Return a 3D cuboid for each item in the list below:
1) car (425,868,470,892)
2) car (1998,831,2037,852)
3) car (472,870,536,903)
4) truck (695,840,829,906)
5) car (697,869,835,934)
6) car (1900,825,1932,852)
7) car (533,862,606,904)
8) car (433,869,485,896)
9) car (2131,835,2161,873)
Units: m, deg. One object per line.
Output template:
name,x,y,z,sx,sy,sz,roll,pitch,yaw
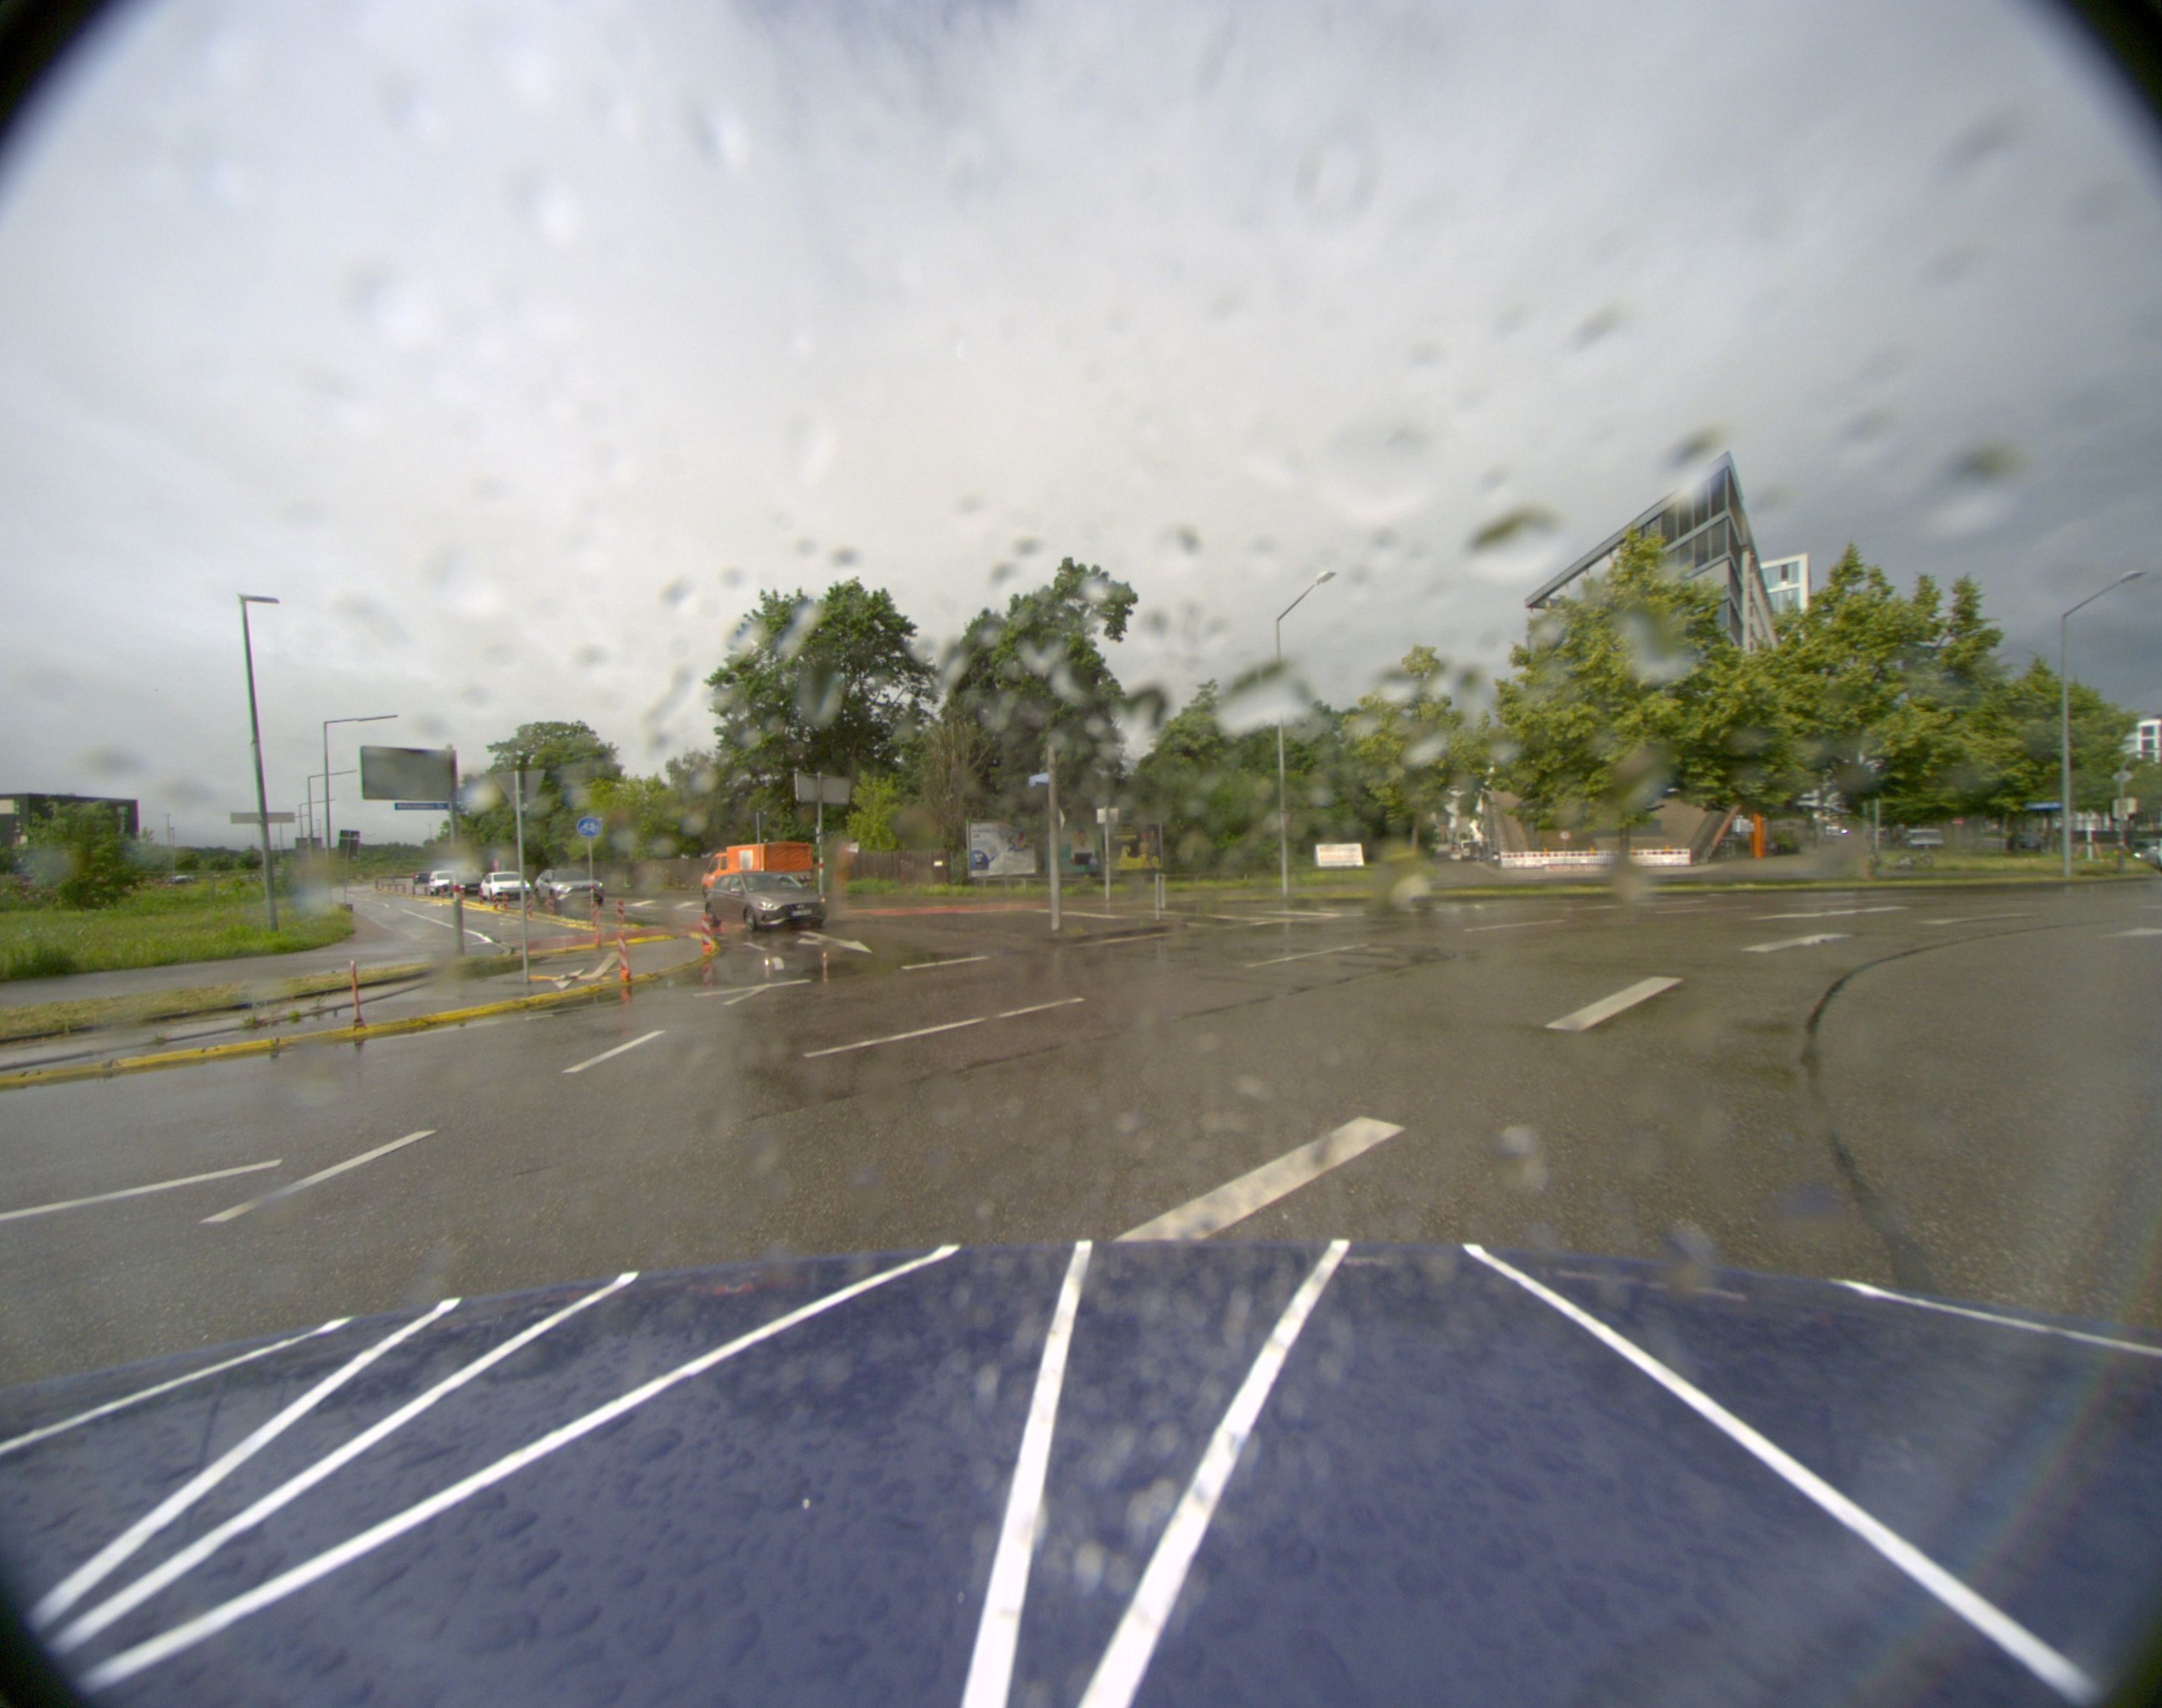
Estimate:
car,-48.816,2.003,58.534,4.471,1.654,1.879,-2,3,41
car,82.875,-1.089,67.302,4.095,1.734,1.861,0,-1,-43
car,-32.258,1.799,42.437,4.471,1.654,1.879,-2,2,41
truck,-14.578,0.835,34.480,6.926,2.710,2.467,-2,0,39
car,-8.136,1.170,19.435,1.738,1.405,4.117,-4,1,-45
car,77.278,-1.395,70.329,4.480,2.345,1.861,0,-1,-43
car,-22.805,1.244,33.813,1.879,1.653,4.471,-4,1,-44
car,-42.328,1.932,51.676,4.471,1.654,1.879,-2,3,41
car,49.516,-0.015,34.316,4.480,1.662,1.861,0,-1,-43
